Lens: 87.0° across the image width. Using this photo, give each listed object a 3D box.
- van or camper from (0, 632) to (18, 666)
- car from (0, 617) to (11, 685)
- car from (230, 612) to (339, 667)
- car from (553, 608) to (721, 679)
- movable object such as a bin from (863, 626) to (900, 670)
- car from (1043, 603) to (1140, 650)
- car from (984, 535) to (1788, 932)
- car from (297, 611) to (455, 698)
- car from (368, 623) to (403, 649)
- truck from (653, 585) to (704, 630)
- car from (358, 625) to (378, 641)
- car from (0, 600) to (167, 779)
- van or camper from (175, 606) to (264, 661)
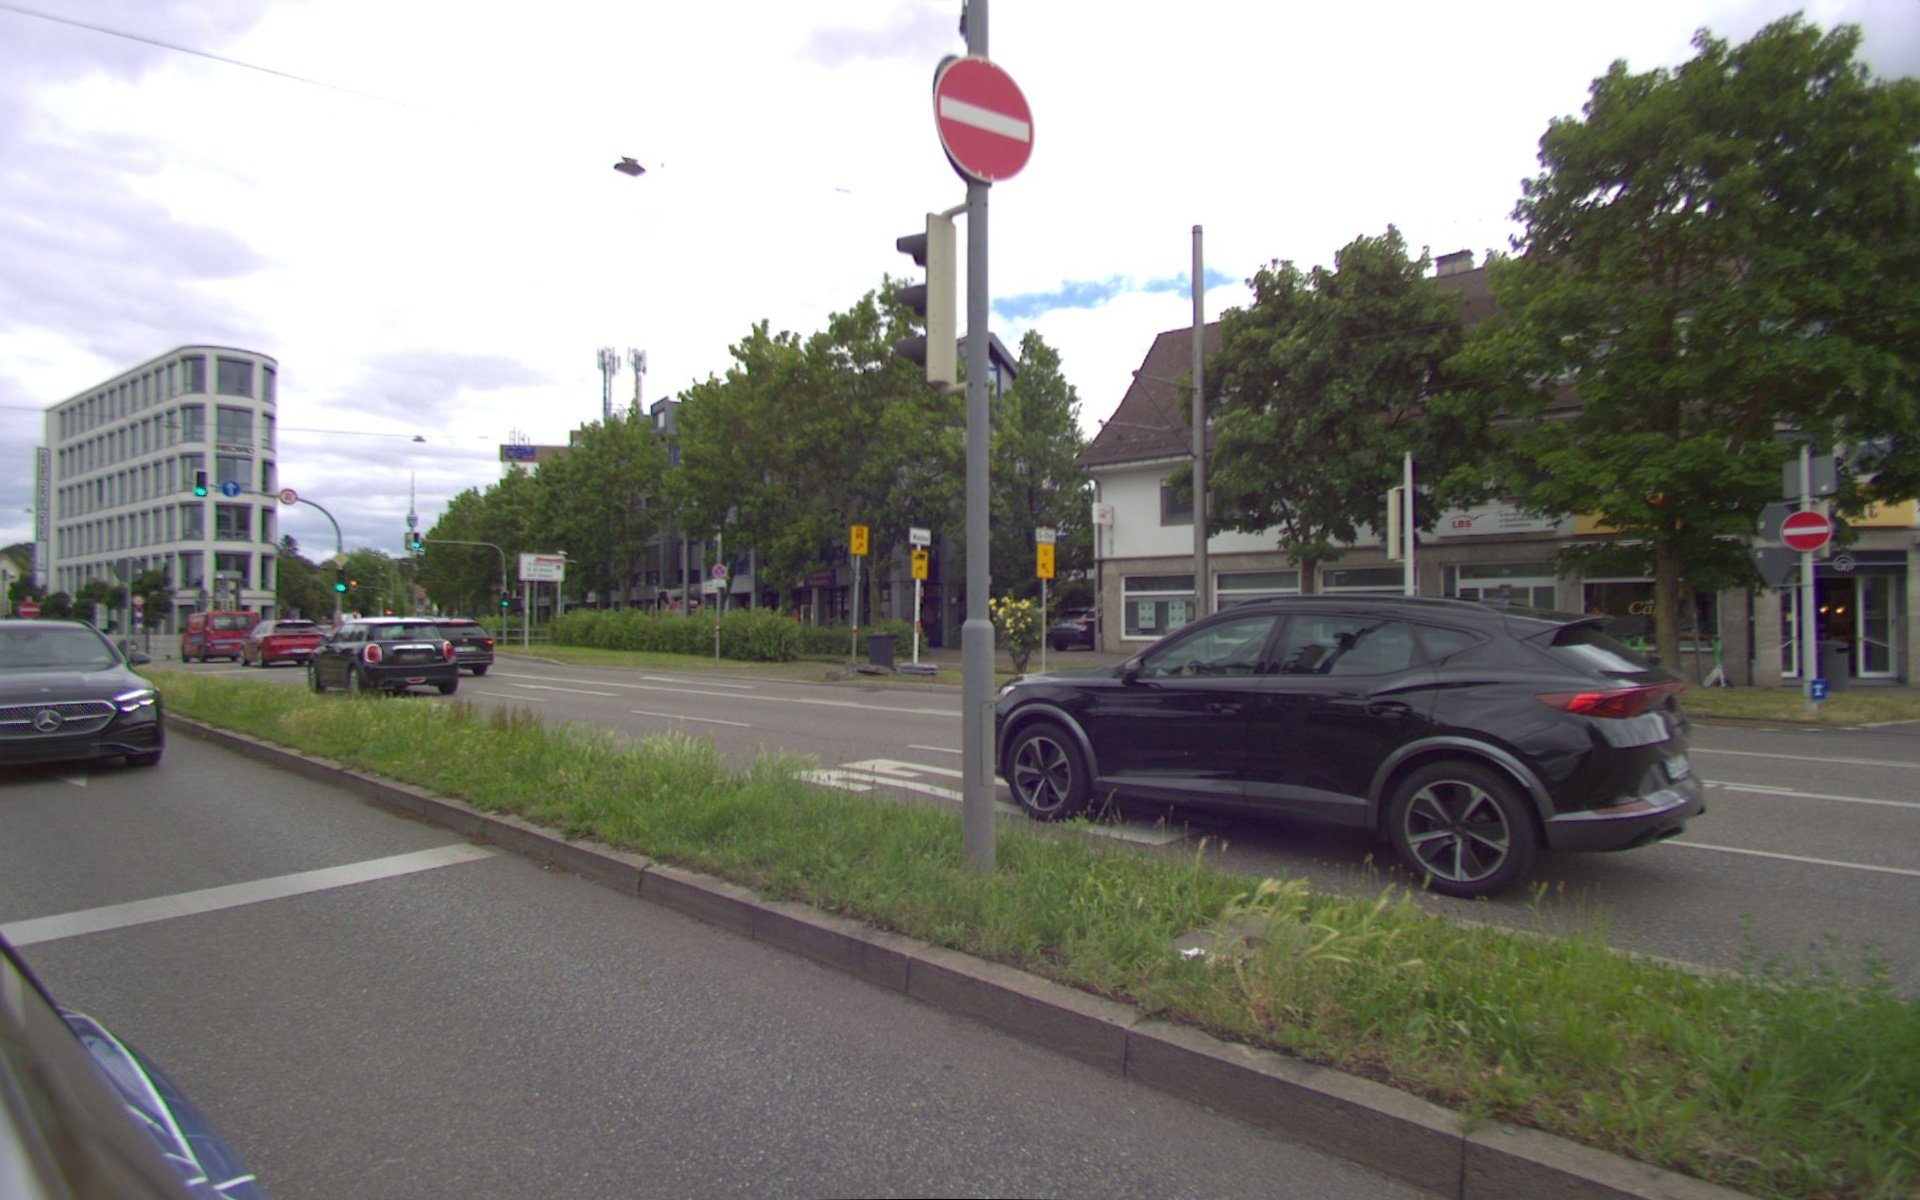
[{"bbox_3d":[-58.374,2.970,60.951,5.246,1.952,1.906,-2,-1,42],"label":"van or camper"},{"bbox_3d":[-23.868,1.180,23.558,3.991,1.541,1.857,-1,-1,36],"label":"car"},{"bbox_3d":[-21.522,1.185,32.171,1.971,1.602,4.837,0,0,-45],"label":"car"},{"bbox_3d":[-7.746,1.013,24.058,4.395,1.511,1.971,-2,-2,44],"label":"car"},{"bbox_3d":[-1.934,1.170,24.836,0.595,1.050,0.687,-2,-2,36],"label":"movable object such as a bin"},{"bbox_3d":[4.826,0.934,36.839,1.721,1.623,3.646,-2,-1,43],"label":"car"},{"bbox_3d":[2.342,0.570,6.351,4.277,1.630,1.876,0,-1,45],"label":"car"},{"bbox_3d":[-10.950,0.936,18.885,3.653,1.457,1.596,0,-1,44],"label":"car"},{"bbox_3d":[-35.193,2.217,62.105,1.751,1.474,4.454,-3,-1,-29],"label":"car"},{"bbox_3d":[-16.939,0.471,60.742,1.966,2.405,4.012,-3,-2,-28],"label":"truck"},{"bbox_3d":[-62.278,3.453,106.552,1.689,1.474,4.454,-3,0,-29],"label":"car"},{"bbox_3d":[-9.772,0.834,10.391,4.334,1.541,1.853,-2,-1,42],"label":"car"},{"bbox_3d":[-29.612,1.323,40.408,5.197,2.029,1.971,-2,-1,44],"label":"van or camper"}]
